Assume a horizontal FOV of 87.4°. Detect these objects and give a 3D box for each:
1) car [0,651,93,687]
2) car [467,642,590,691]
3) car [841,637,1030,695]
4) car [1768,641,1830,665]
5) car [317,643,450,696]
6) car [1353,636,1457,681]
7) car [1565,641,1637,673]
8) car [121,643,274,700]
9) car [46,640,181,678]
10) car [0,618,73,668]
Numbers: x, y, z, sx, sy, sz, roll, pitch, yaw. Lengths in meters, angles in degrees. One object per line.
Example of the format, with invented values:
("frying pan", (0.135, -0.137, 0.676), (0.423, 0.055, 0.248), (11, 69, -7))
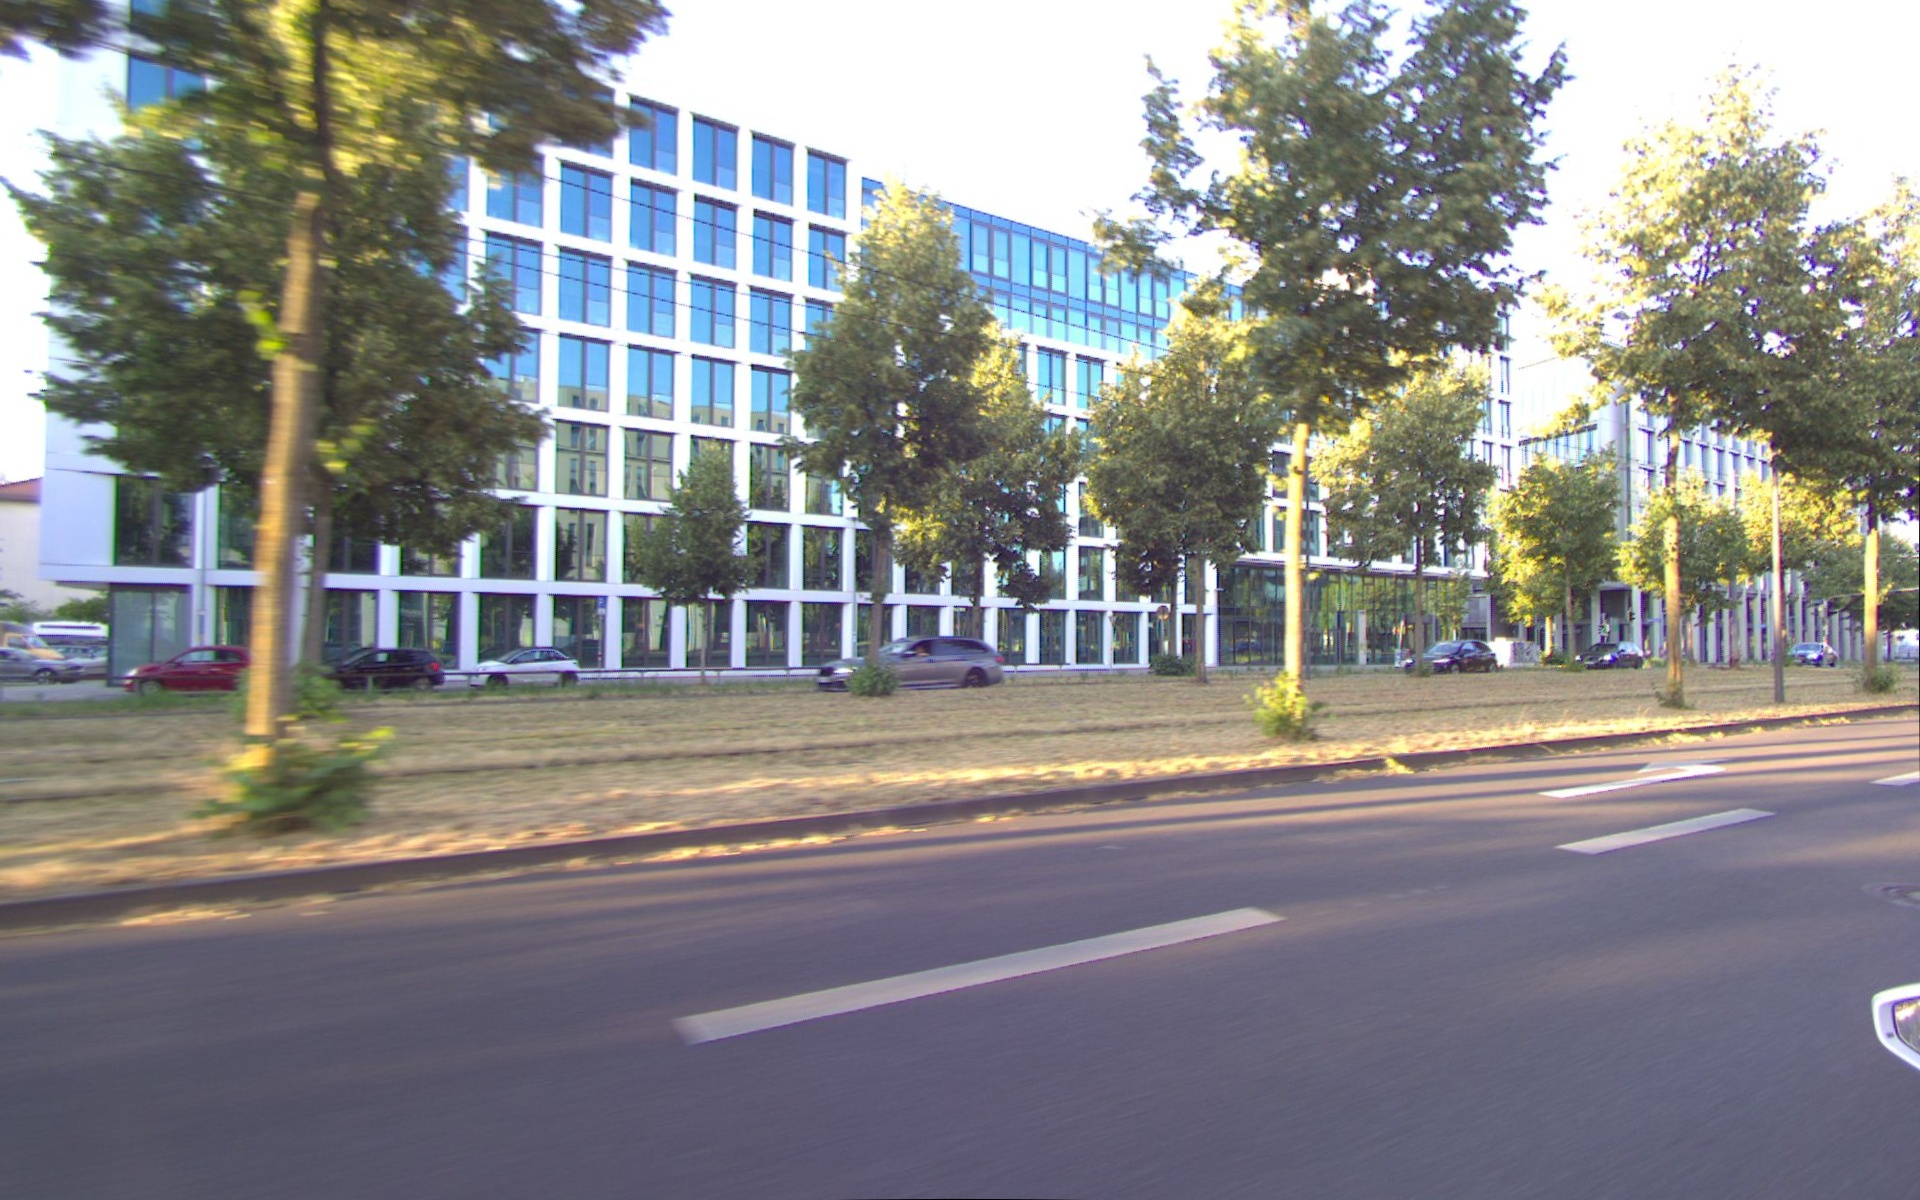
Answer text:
("car", (-35.294, 2.557, 37.362), (4.187, 1.277, 1.737), (1, -2, -20))
("car", (-15.169, 2.287, 35.315), (3.742, 1.602, 1.850), (2, -2, -32))
("car", (-0.555, 1.636, 25.497), (4.694, 1.349, 1.646), (2, -3, -35))
("car", (49.404, 3.094, 59.140), (4.538, 1.349, 1.646), (2, -2, -35))
("car", (-18.695, 2.218, 32.630), (3.625, 1.602, 1.850), (2, -2, -32))
("car", (16.135, 2.089, 36.396), (3.689, 1.568, 1.791), (2, -2, -34))
("car", (32.761, 2.889, 51.322), (4.147, 1.521, 1.646), (2, -2, -35))
("car", (-22.775, 2.089, 30.178), (3.454, 1.602, 1.850), (2, -2, -32))
("car", (-37.536, 2.604, 44.671), (4.215, 1.610, 1.760), (1, -2, -22))
("car", (-52.024, 2.303, 54.103), (5.997, 2.630, 1.992), (1, -2, -19))
